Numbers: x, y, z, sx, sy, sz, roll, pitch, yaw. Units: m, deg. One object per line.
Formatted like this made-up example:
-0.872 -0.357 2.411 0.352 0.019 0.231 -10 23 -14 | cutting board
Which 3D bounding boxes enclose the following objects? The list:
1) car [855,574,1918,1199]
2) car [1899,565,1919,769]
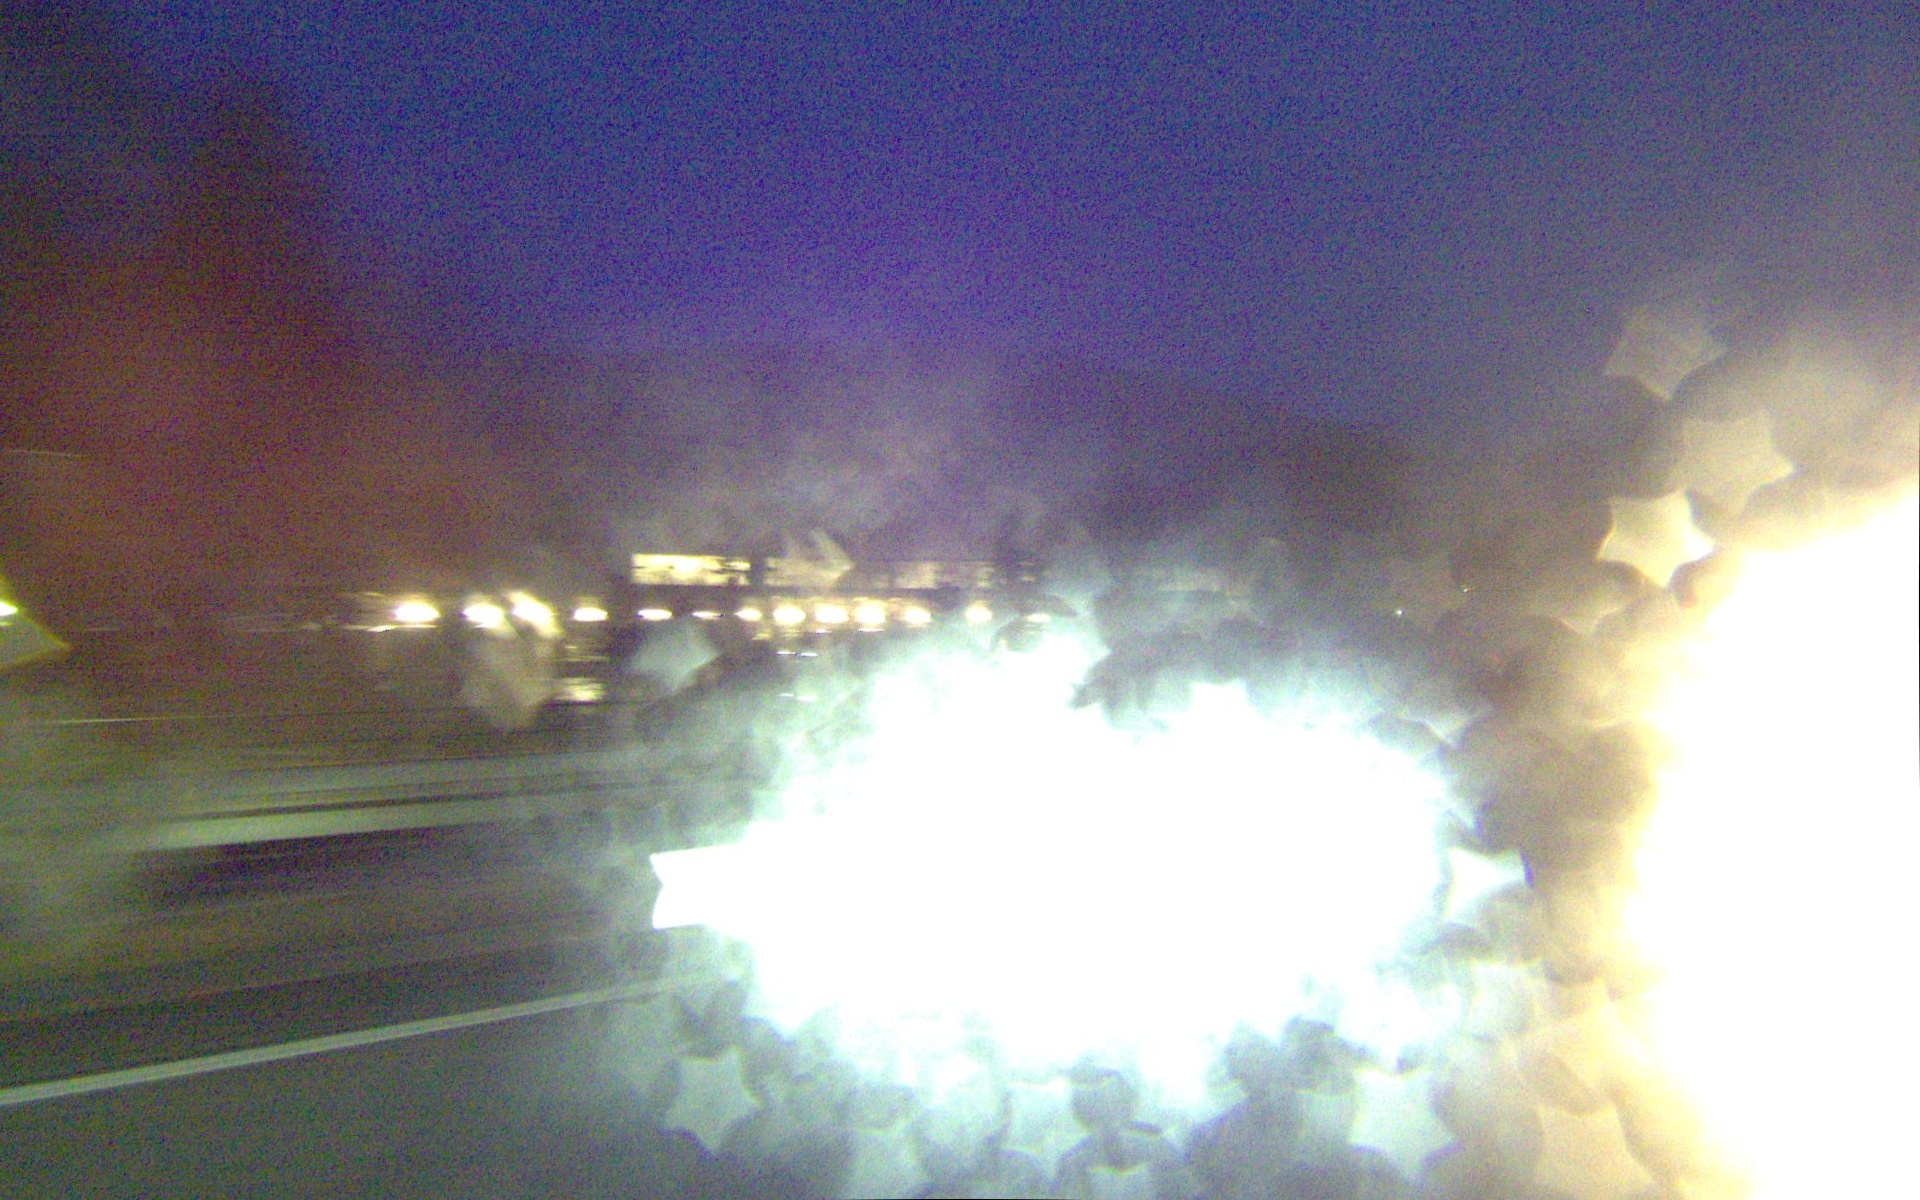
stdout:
1.981 0.792 4.152 4.484 1.540 1.790 2 -2 -32 | car
12.001 0.744 10.641 3.954 2.102 1.984 2 -1 -31 | car
